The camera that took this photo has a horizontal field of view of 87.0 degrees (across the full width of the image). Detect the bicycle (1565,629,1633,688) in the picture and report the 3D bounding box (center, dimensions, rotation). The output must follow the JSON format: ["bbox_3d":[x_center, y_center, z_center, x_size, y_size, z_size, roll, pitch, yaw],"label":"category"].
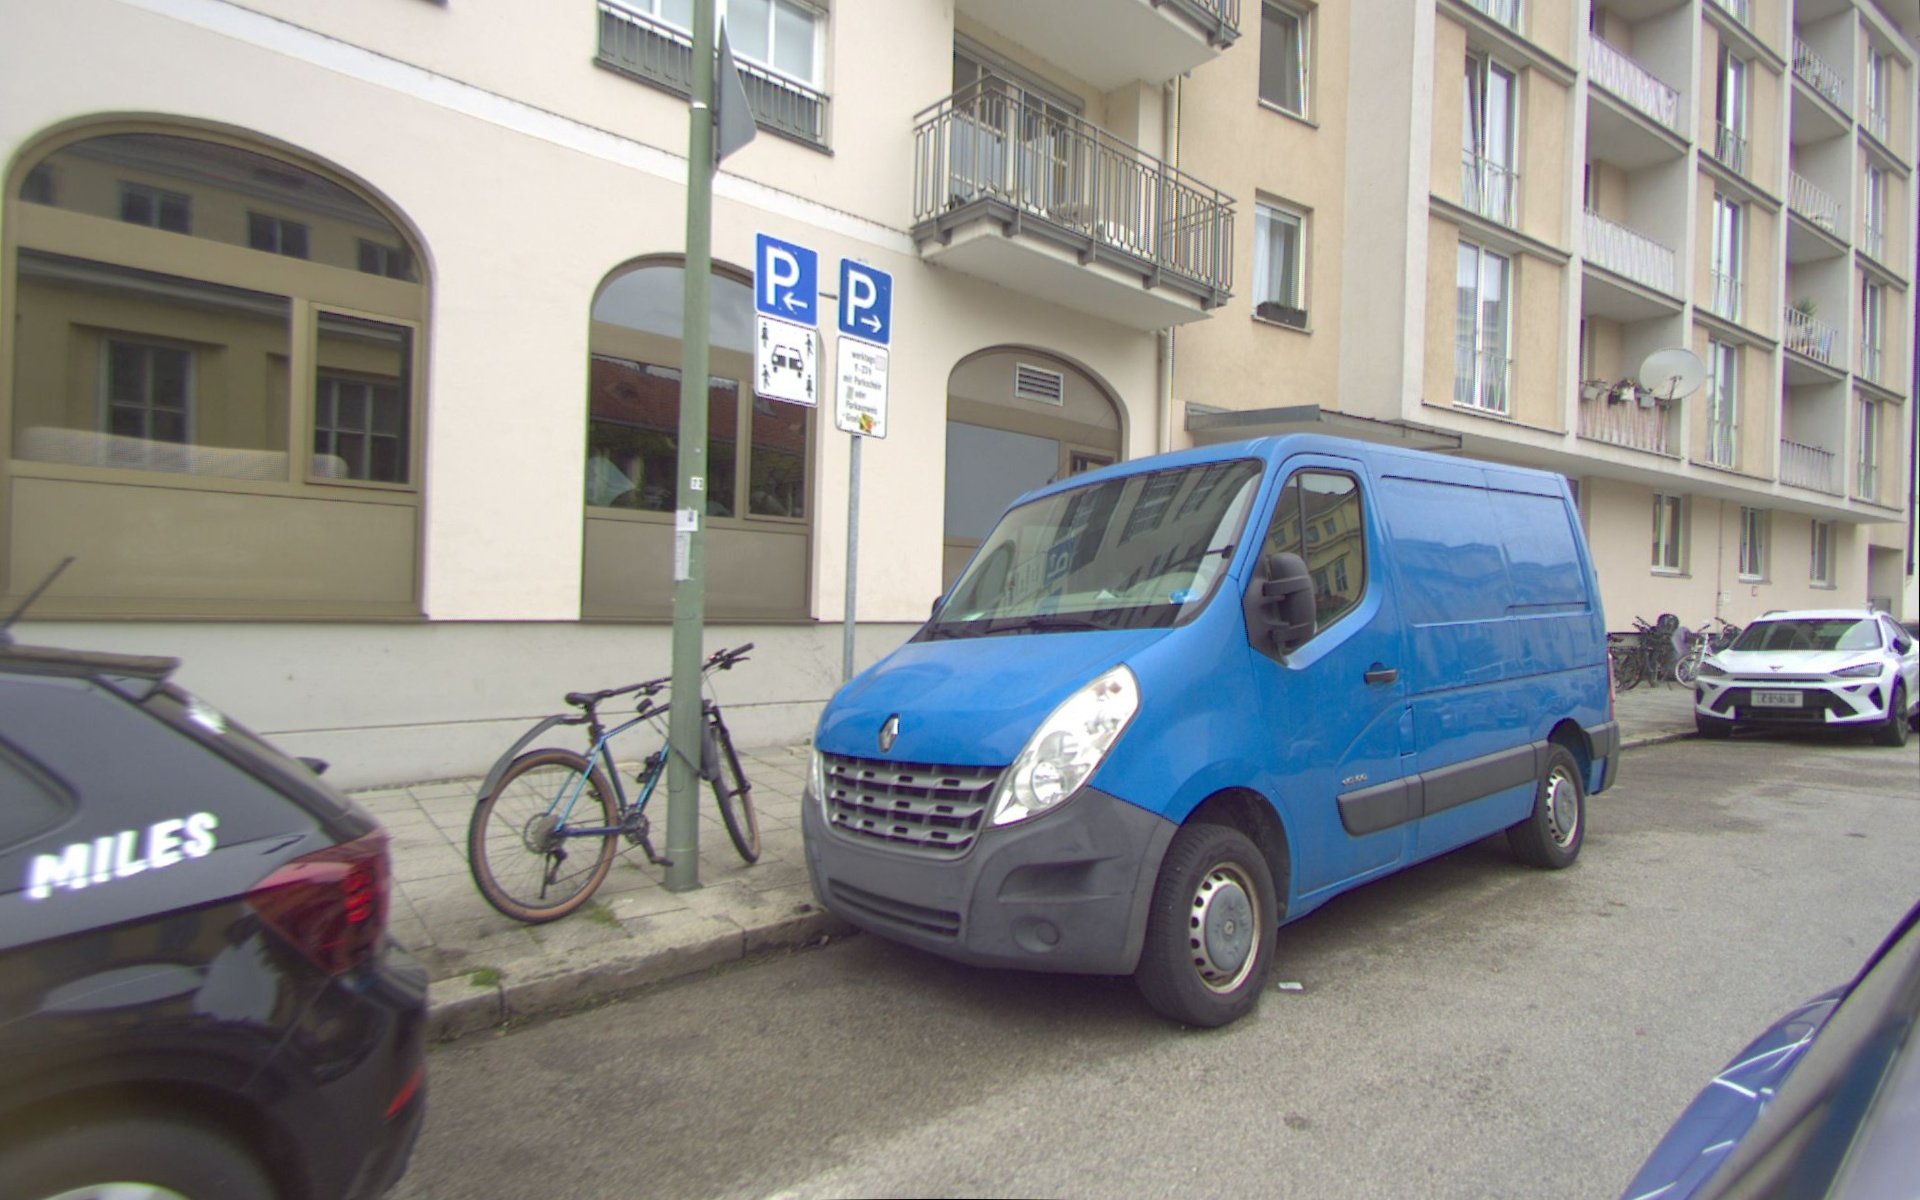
[{"bbox_3d":[10.390,0.937,16.443,1.364,0.916,0.379,1,0,-32],"label":"bicycle"}]

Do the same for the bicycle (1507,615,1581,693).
[{"bbox_3d":[8.901,0.809,15.407,1.364,1.133,0.379,1,0,-32],"label":"bicycle"}]

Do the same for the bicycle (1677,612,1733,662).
[{"bbox_3d":[14.176,0.698,19.249,1.364,0.916,0.379,1,0,-32],"label":"bicycle"}]

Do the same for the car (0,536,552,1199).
[{"bbox_3d":[-2.949,0.638,1.247,1.677,1.407,4.236,-4,-3,44],"label":"car"}]

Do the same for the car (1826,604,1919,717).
[{"bbox_3d":[15.116,0.850,15.159,5.063,1.542,1.886,1,-3,-33],"label":"car"}]

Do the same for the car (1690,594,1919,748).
[{"bbox_3d":[10.723,0.756,12.332,4.564,1.553,1.789,1,-2,-39],"label":"car"}]

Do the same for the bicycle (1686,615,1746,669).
[{"bbox_3d":[13.587,0.747,18.172,1.364,0.916,0.379,1,2,-32],"label":"bicycle"}]

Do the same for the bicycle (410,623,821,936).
[{"bbox_3d":[-1.569,0.732,4.939,0.618,1.160,1.853,4,2,35],"label":"bicycle"}]

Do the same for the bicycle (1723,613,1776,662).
[{"bbox_3d":[15.454,0.727,19.798,1.364,0.916,0.379,1,0,-32],"label":"bicycle"}]

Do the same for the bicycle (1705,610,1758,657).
[{"bbox_3d":[15.528,0.669,20.363,1.364,0.916,0.379,1,0,-32],"label":"bicycle"}]

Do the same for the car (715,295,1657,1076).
[{"bbox_3d":[1.576,0.212,5.387,5.152,2.262,2.082,-2,-2,-40],"label":"car"}]

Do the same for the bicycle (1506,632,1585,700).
[{"bbox_3d":[8.415,0.929,14.535,1.364,0.916,0.379,1,0,-32],"label":"bicycle"}]
